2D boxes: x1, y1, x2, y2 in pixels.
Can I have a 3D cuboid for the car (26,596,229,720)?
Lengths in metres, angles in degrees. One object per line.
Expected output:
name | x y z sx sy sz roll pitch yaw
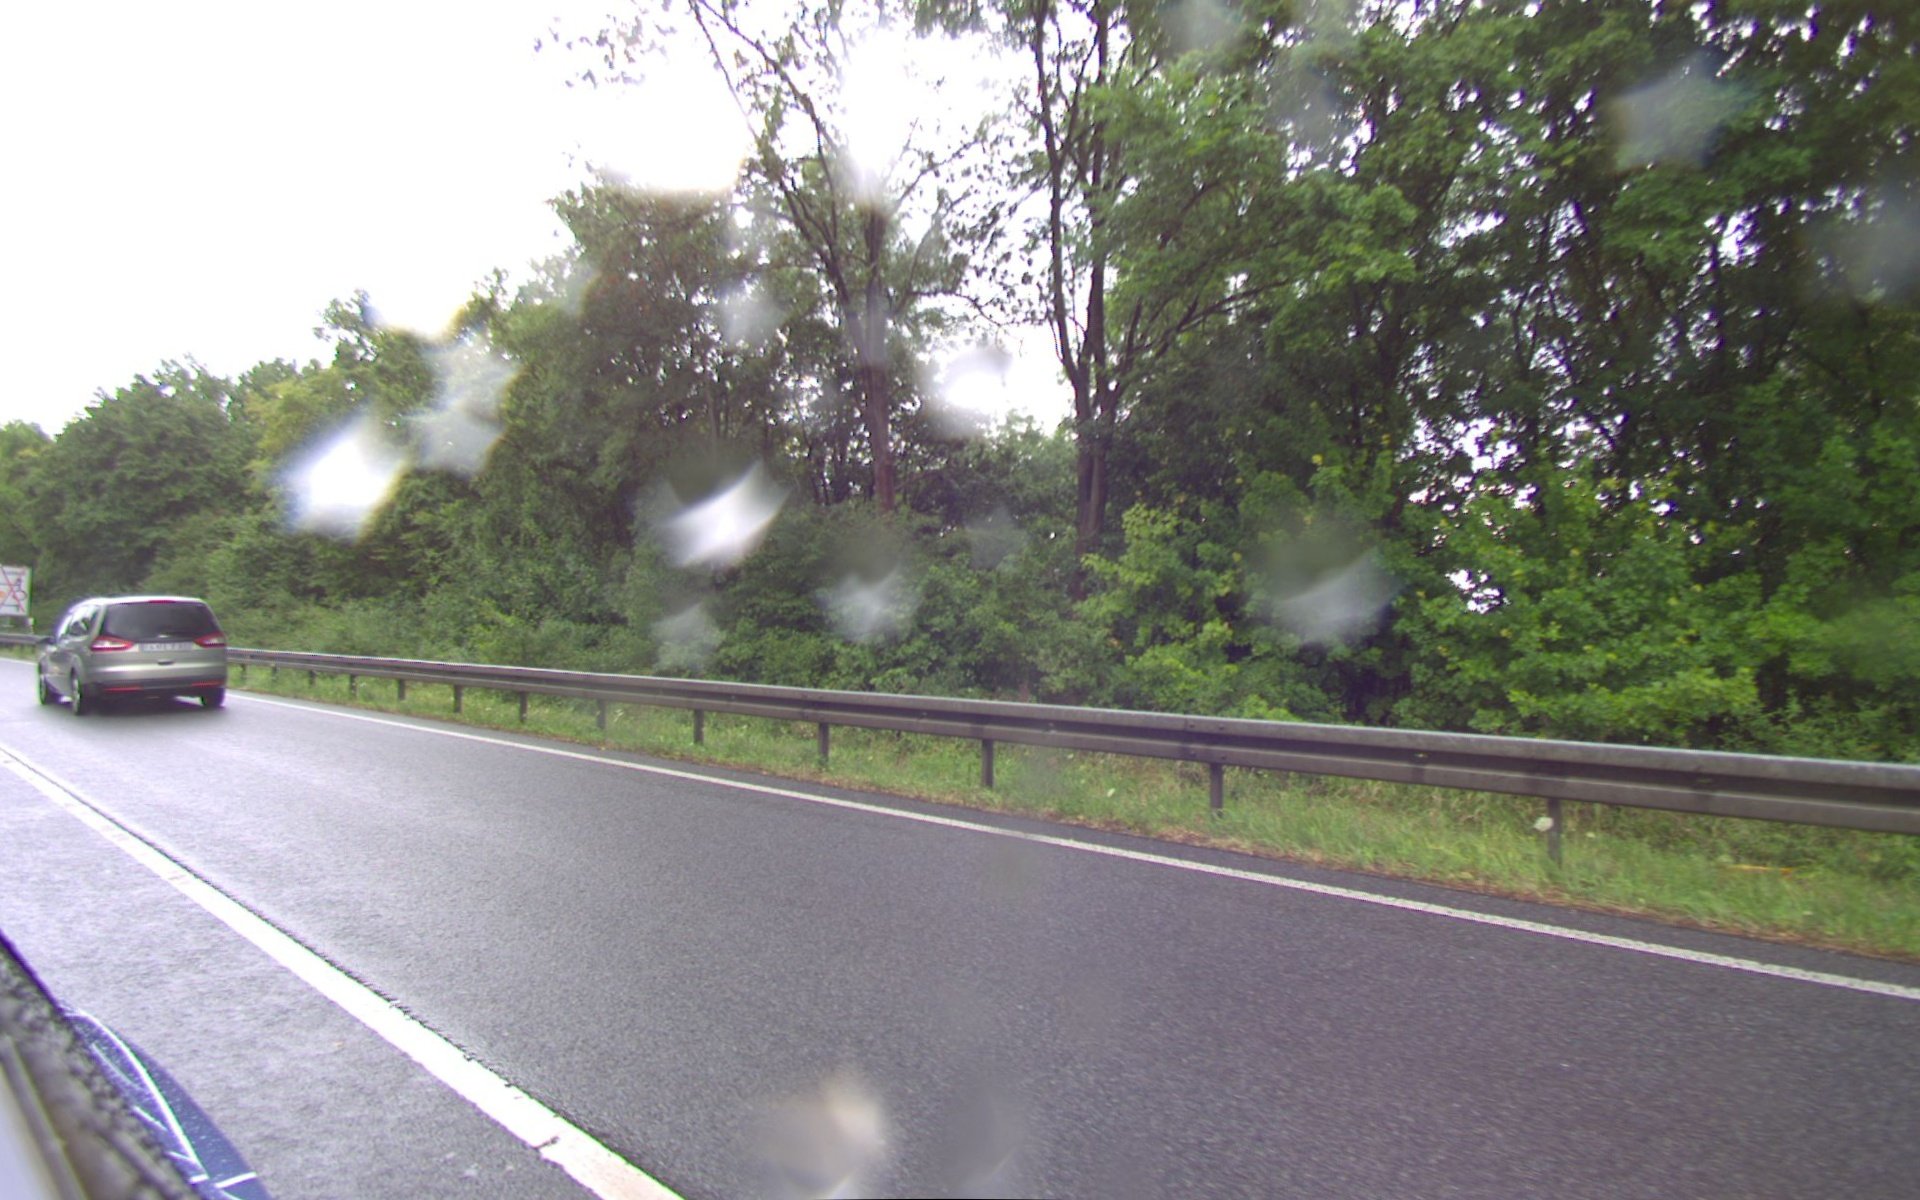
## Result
car | -13.335 0.793 16.107 4.620 1.699 1.796 0 0 41
